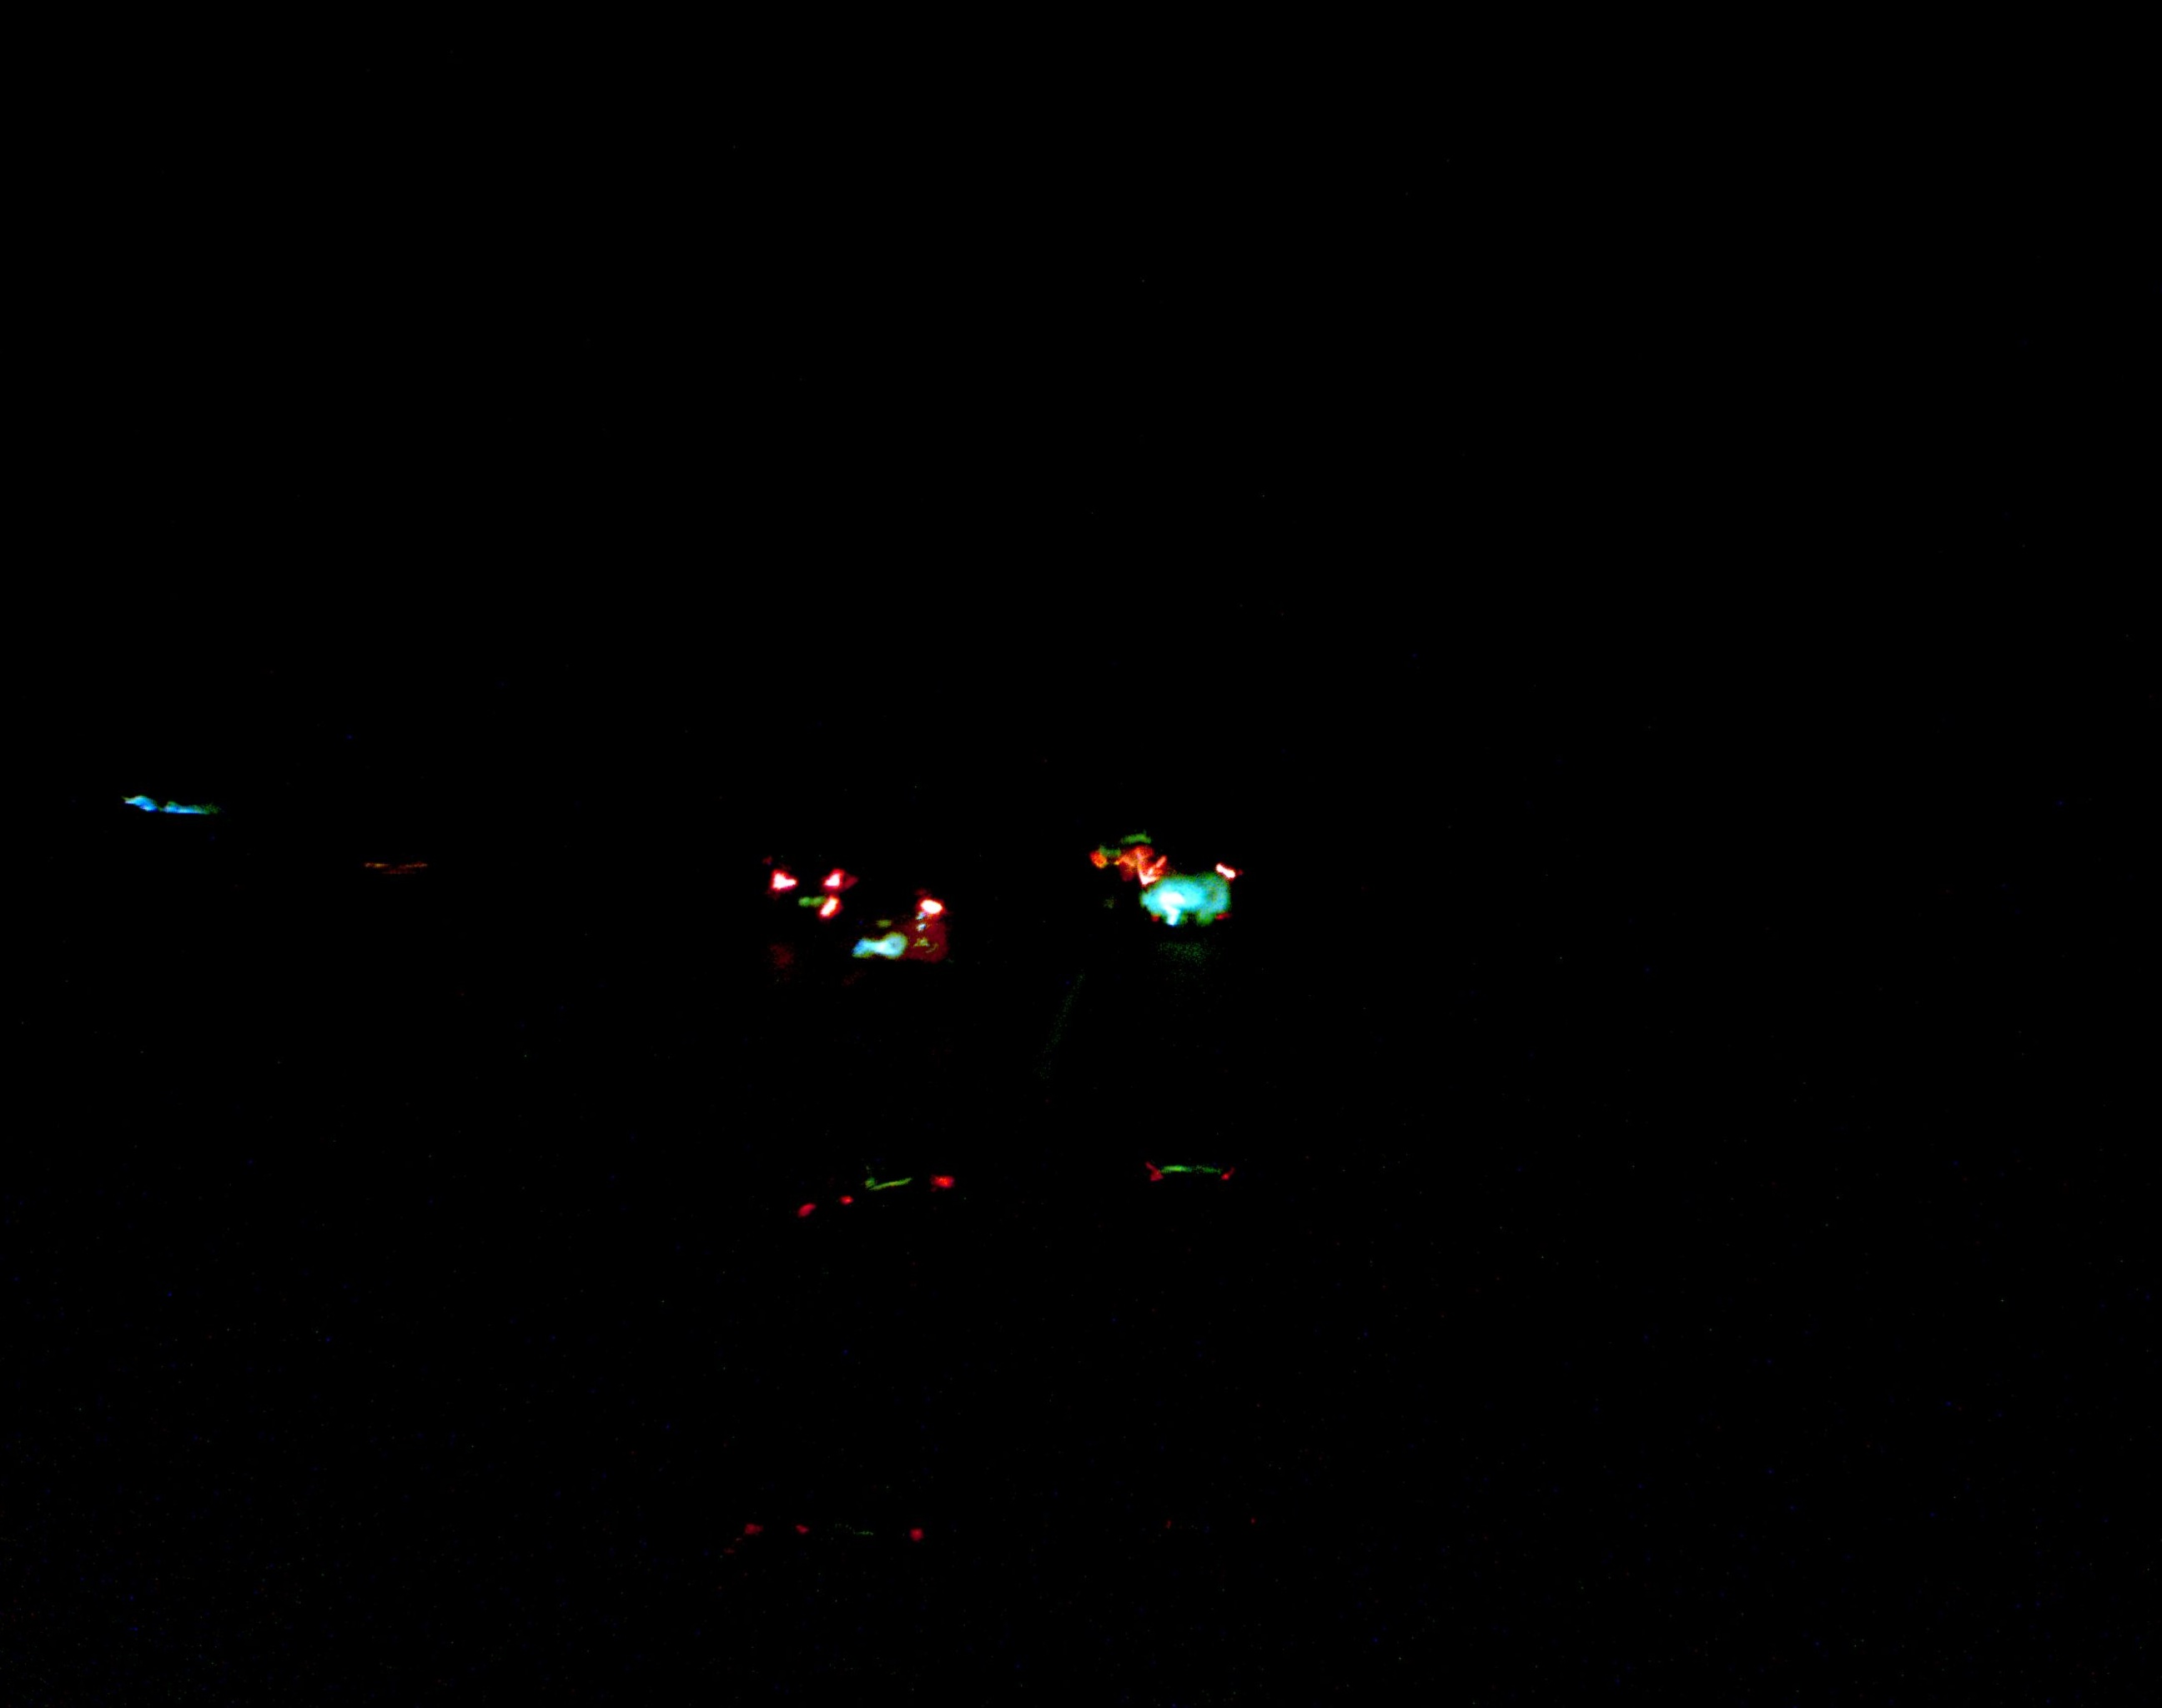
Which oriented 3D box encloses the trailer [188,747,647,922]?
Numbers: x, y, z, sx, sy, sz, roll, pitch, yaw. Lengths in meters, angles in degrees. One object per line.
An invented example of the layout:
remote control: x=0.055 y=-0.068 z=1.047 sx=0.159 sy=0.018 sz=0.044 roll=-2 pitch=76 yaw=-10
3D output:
trailer: x=-21.555 y=-0.445 z=28.843 sx=4.149 sy=4.624 sz=13.971 roll=-1 pitch=-1 yaw=4

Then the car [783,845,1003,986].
car: x=-2.374 y=0.732 z=11.479 sx=1.908 sy=1.594 sz=4.236 roll=-1 pitch=-1 yaw=3

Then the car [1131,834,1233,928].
car: x=2.101 y=0.549 z=18.275 sx=1.945 sy=1.792 sz=5.128 roll=-1 pitch=-1 yaw=3

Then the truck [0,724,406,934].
truck: x=-22.074 y=-0.520 z=21.074 sx=4.149 sy=4.624 sz=5.851 roll=-1 pitch=-1 yaw=3

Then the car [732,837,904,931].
car: x=-5.598 y=0.602 z=18.119 sx=1.985 sy=1.777 sz=4.891 roll=-1 pitch=-1 yaw=3

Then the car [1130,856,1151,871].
car: x=6.007 y=0.915 z=82.513 sx=1.882 sy=1.354 sz=4.002 roll=3 pitch=0 yaw=2

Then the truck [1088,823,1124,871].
truck: x=3.201 y=-0.764 z=101.210 sx=4.151 sy=5.544 sz=13.082 roll=-1 pitch=-1 yaw=3

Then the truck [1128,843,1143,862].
truck: x=14.772 y=-0.284 z=221.068 sx=3.808 sy=4.915 sz=11.613 roll=0 pitch=-1 yaw=3
